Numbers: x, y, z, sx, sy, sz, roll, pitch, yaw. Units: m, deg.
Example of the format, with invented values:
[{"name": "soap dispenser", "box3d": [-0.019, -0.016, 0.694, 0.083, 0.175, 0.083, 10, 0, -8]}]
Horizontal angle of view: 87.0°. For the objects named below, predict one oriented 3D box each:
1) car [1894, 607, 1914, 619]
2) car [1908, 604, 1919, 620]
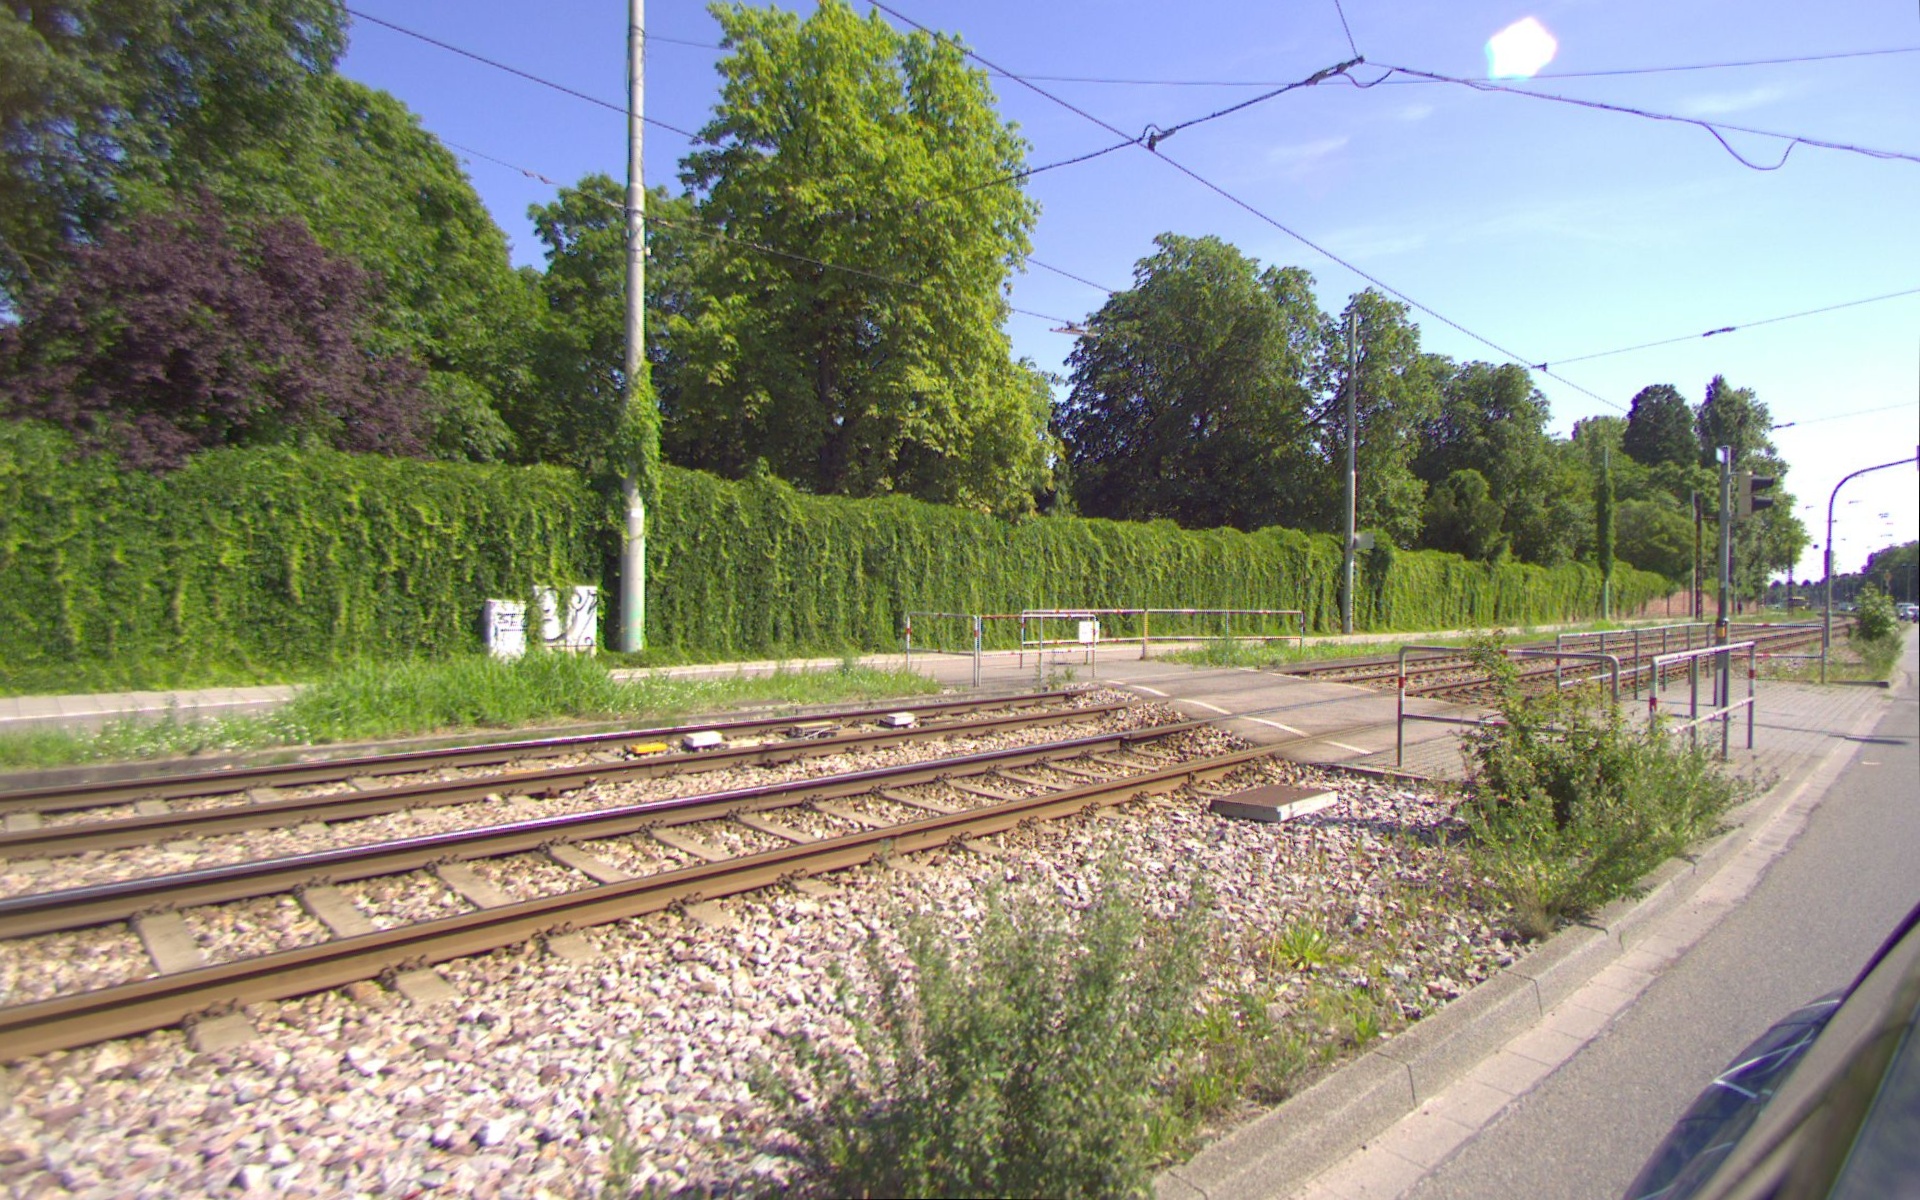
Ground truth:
[{"name": "car", "box3d": [129.180, 1.799, 138.551, 1.925, 1.623, 4.400, 0, 0, 42]}, {"name": "car", "box3d": [101.088, 1.228, 106.494, 1.925, 1.623, 4.400, 0, 0, 42]}]
